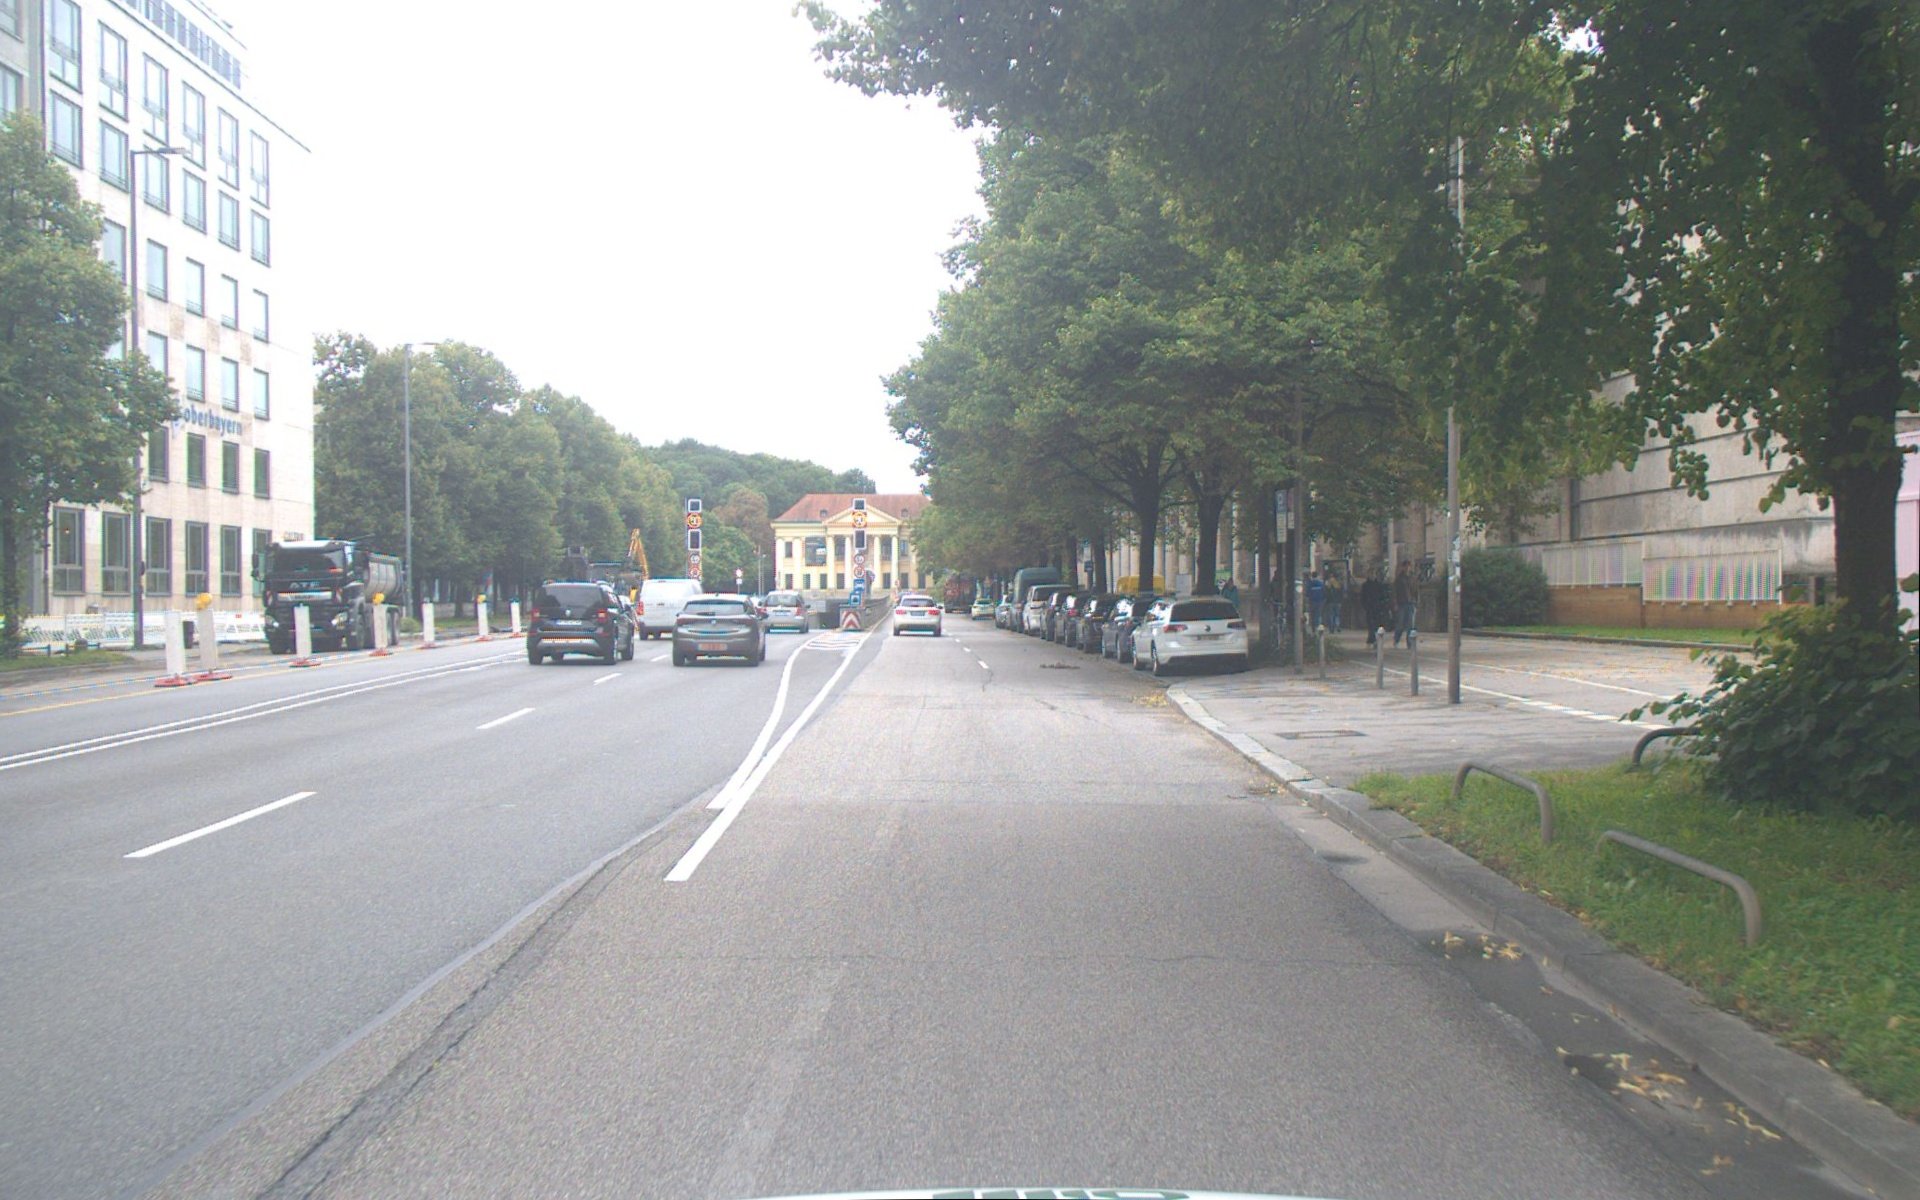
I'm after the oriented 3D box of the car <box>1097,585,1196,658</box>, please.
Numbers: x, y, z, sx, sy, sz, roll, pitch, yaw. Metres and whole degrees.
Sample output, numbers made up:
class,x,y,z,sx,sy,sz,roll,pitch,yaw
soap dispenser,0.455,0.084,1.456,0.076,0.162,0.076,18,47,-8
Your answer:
class,x,y,z,sx,sy,sz,roll,pitch,yaw
car,4.277,0.462,38.541,1.689,1.577,4.584,-1,0,-1

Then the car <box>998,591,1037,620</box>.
class,x,y,z,sx,sy,sz,roll,pitch,yaw
car,2.831,0.262,82.215,1.689,1.347,4.027,-1,0,-1

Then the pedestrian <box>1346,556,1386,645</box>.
class,x,y,z,sx,sy,sz,roll,pitch,yaw
pedestrian,9.014,0.013,36.754,0.685,1.943,0.770,1,0,-1

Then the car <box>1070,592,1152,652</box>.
class,x,y,z,sx,sy,sz,roll,pitch,yaw
car,4.032,0.558,44.819,1.689,1.490,4.775,-1,0,-1

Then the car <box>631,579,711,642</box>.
class,x,y,z,sx,sy,sz,roll,pitch,yaw
car,-9.232,0.318,53.153,1.860,1.880,4.953,-1,0,-2

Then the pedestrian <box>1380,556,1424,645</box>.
class,x,y,z,sx,sy,sz,roll,pitch,yaw
pedestrian,9.811,0.008,36.718,0.748,1.943,0.770,1,0,-1

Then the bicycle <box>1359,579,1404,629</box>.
class,x,y,z,sx,sy,sz,roll,pitch,yaw
bicycle,12.713,0.113,49.980,0.685,1.440,2.298,-1,0,-2

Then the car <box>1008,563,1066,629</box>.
class,x,y,z,sx,sy,sz,roll,pitch,yaw
car,3.257,-0.187,70.662,1.954,2.689,4.875,1,0,-3

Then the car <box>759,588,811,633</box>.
class,x,y,z,sx,sy,sz,roll,pitch,yaw
car,-6.739,0.372,64.033,1.743,1.683,3.998,1,0,-2

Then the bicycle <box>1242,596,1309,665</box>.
class,x,y,z,sx,sy,sz,roll,pitch,yaw
bicycle,6.008,0.549,31.648,0.616,1.252,2.616,1,0,-4

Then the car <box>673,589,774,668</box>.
class,x,y,z,sx,sy,sz,roll,pitch,yaw
car,-4.958,0.559,35.082,1.676,1.579,3.999,1,0,-2

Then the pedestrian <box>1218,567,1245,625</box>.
class,x,y,z,sx,sy,sz,roll,pitch,yaw
pedestrian,9.051,-0.135,55.148,0.763,1.943,0.770,1,0,-1

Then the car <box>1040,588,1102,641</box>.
class,x,y,z,sx,sy,sz,roll,pitch,yaw
car,3.735,0.465,56.102,1.689,1.694,4.588,-1,0,-1

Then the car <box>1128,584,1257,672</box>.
class,x,y,z,sx,sy,sz,roll,pitch,yaw
car,4.505,0.498,32.698,1.790,1.577,4.750,-1,0,-1

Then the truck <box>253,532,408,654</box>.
class,x,y,z,sx,sy,sz,roll,pitch,yaw
truck,-19.156,-0.220,50.886,2.789,3.415,8.743,1,0,-10

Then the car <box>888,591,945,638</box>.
class,x,y,z,sx,sy,sz,roll,pitch,yaw
car,-1.642,0.506,61.635,1.745,1.673,3.994,1,0,-7

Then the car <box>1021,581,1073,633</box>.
class,x,y,z,sx,sy,sz,roll,pitch,yaw
car,3.324,0.267,63.805,1.689,1.900,4.027,-1,0,-1

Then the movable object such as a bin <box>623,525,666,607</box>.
class,x,y,z,sx,sy,sz,roll,pitch,yaw
movable object such as a bin,-26.076,-2.808,136.895,2.645,6.624,5.174,1,0,-2

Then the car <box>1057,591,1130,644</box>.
class,x,y,z,sx,sy,sz,roll,pitch,yaw
car,4.002,0.490,49.979,1.786,1.490,4.027,-1,0,-1

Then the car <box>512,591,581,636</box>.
class,x,y,z,sx,sy,sz,roll,pitch,yaw
car,-16.061,0.505,64.396,1.955,1.624,3.996,-1,0,-5

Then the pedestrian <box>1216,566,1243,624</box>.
class,x,y,z,sx,sy,sz,roll,pitch,yaw
pedestrian,9.145,-0.181,56.229,0.763,1.943,0.770,1,0,-1

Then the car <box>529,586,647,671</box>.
class,x,y,z,sx,sy,sz,roll,pitch,yaw
car,-7.799,0.564,35.022,1.688,1.665,4.203,-1,0,-2

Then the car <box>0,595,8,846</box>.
class,x,y,z,sx,sy,sz,roll,pitch,yaw
car,-6.380,0.717,7.598,1.757,1.473,4.271,-1,0,-4

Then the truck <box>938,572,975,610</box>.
class,x,y,z,sx,sy,sz,roll,pitch,yaw
truck,-0.372,-0.866,154.560,3.258,3.426,8.659,1,0,-2

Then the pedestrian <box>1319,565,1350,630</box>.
class,x,y,z,sx,sy,sz,roll,pitch,yaw
pedestrian,11.327,-0.079,50.040,0.763,1.943,0.770,1,0,-1

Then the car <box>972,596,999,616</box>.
class,x,y,z,sx,sy,sz,roll,pitch,yaw
car,1.794,0.381,117.337,1.689,1.347,4.027,-1,0,-1

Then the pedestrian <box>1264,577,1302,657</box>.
class,x,y,z,sx,sy,sz,roll,pitch,yaw
pedestrian,8.001,0.418,41.031,0.763,1.943,0.770,1,0,-1

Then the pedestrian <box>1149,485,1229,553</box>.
class,x,y,z,sx,sy,sz,roll,pitch,yaw
pedestrian,7.523,-2.624,54.697,1.953,2.049,3.999,1,0,-2
